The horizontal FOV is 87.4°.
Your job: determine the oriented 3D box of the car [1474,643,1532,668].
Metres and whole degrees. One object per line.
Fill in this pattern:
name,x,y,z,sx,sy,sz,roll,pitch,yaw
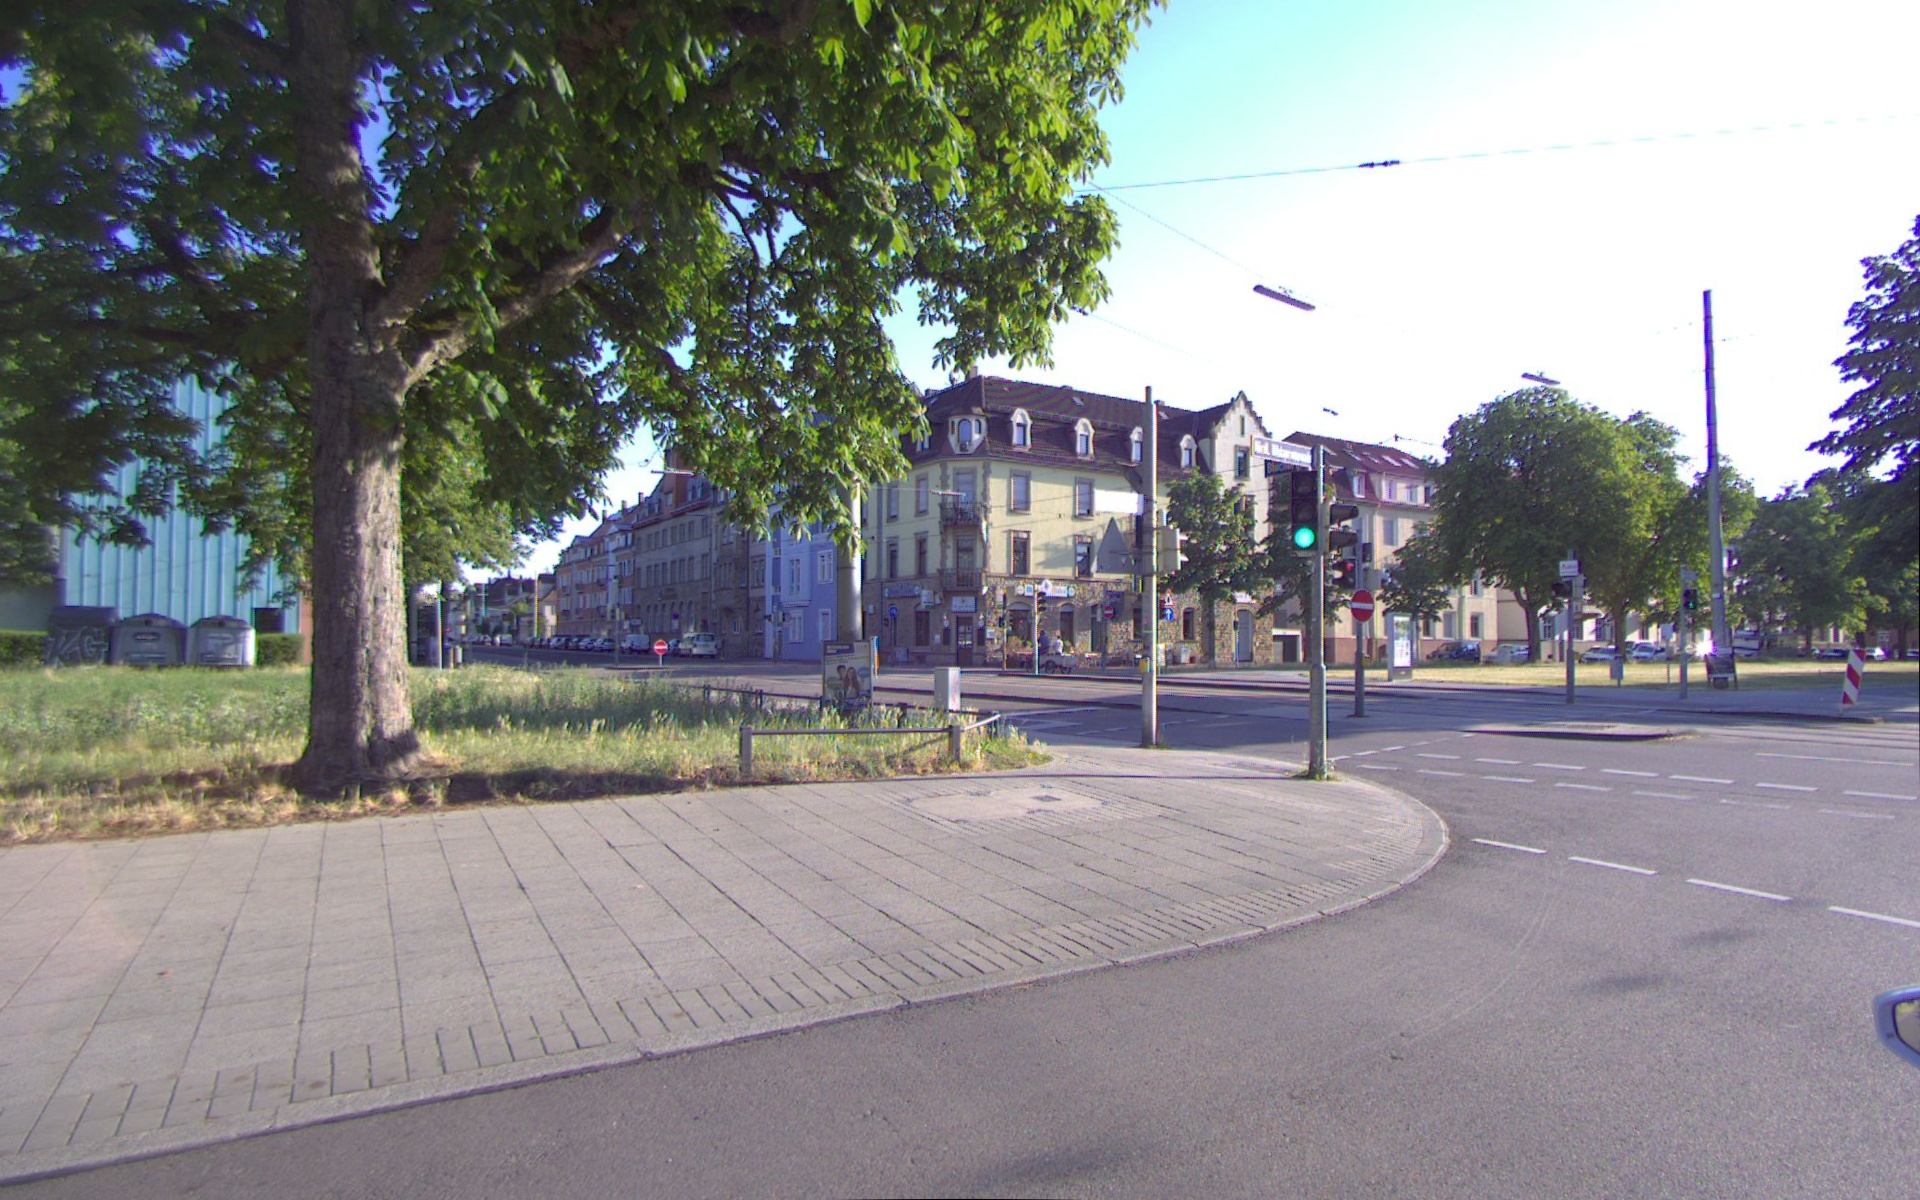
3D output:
car,40.756,4.167,75.380,3.953,1.681,1.984,3,-1,-30

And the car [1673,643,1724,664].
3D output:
car,66.559,4.844,90.526,4.516,1.681,1.984,3,-1,-30

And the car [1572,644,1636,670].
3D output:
car,46.185,4.072,72.024,4.516,1.681,1.984,3,-1,-30

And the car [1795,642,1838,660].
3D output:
car,87.365,5.219,102.415,4.322,1.681,1.984,3,-1,-30

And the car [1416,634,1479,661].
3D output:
car,35.202,3.402,72.551,4.260,1.759,1.984,3,-1,-30

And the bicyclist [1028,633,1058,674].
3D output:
bicyclist,3.638,2.353,44.050,0.863,1.745,1.141,2,-3,-26

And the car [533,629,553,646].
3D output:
car,-54.352,4.882,130.911,1.756,2.040,3.791,3,-1,-33

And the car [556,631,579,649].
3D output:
car,-45.921,4.646,117.515,1.781,1.855,3.756,3,-1,-33

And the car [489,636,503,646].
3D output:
car,-71.588,6.373,154.971,1.534,1.387,3.429,3,-1,-34

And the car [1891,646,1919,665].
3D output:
car,97.952,5.752,103.482,4.074,1.804,1.802,3,-1,-30

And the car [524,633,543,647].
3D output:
car,-57.291,5.392,134.859,1.713,1.693,3.639,3,-1,-32

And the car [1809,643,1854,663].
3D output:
car,80.721,4.915,93.021,4.266,1.696,1.870,3,-1,-31

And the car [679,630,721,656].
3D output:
car,-20.181,3.325,77.924,2.011,1.759,3.744,3,-1,-34

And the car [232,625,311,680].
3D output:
car,-23.380,1.735,34.264,1.979,1.693,5.176,3,-2,-33

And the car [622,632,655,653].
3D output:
car,-30.008,3.953,93.648,1.980,1.693,3.744,3,-1,-34

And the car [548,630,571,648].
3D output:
car,-48.737,4.725,122.079,1.805,2.040,3.925,3,-1,-33

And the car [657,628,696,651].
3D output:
car,-23.406,3.271,82.778,1.979,1.763,3.963,2,-1,-33

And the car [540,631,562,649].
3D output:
car,-51.604,5.026,126.644,1.788,2.040,3.773,3,-1,-33

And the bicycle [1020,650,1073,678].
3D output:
bicycle,3.741,2.766,43.823,0.863,1.176,3.064,2,-3,-26

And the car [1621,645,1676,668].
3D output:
car,51.420,4.198,74.985,4.372,1.575,1.785,2,0,-33

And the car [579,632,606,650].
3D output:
car,-39.575,4.415,108.115,1.816,1.692,3.912,3,-1,-33

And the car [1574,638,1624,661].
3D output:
car,52.320,4.061,82.243,4.141,1.654,1.708,3,-1,-30

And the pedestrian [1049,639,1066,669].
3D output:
pedestrian,5.394,2.974,55.535,0.675,1.646,0.612,3,-1,-33

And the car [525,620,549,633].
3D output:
car,-58.566,3.614,139.118,1.911,1.715,3.953,3,-2,-40

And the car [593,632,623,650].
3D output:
car,-36.342,4.220,103.569,1.980,1.693,3.744,3,-1,-34

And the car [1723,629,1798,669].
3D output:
car,67.861,4.165,85.097,7.763,3.173,2.380,2,0,-31
